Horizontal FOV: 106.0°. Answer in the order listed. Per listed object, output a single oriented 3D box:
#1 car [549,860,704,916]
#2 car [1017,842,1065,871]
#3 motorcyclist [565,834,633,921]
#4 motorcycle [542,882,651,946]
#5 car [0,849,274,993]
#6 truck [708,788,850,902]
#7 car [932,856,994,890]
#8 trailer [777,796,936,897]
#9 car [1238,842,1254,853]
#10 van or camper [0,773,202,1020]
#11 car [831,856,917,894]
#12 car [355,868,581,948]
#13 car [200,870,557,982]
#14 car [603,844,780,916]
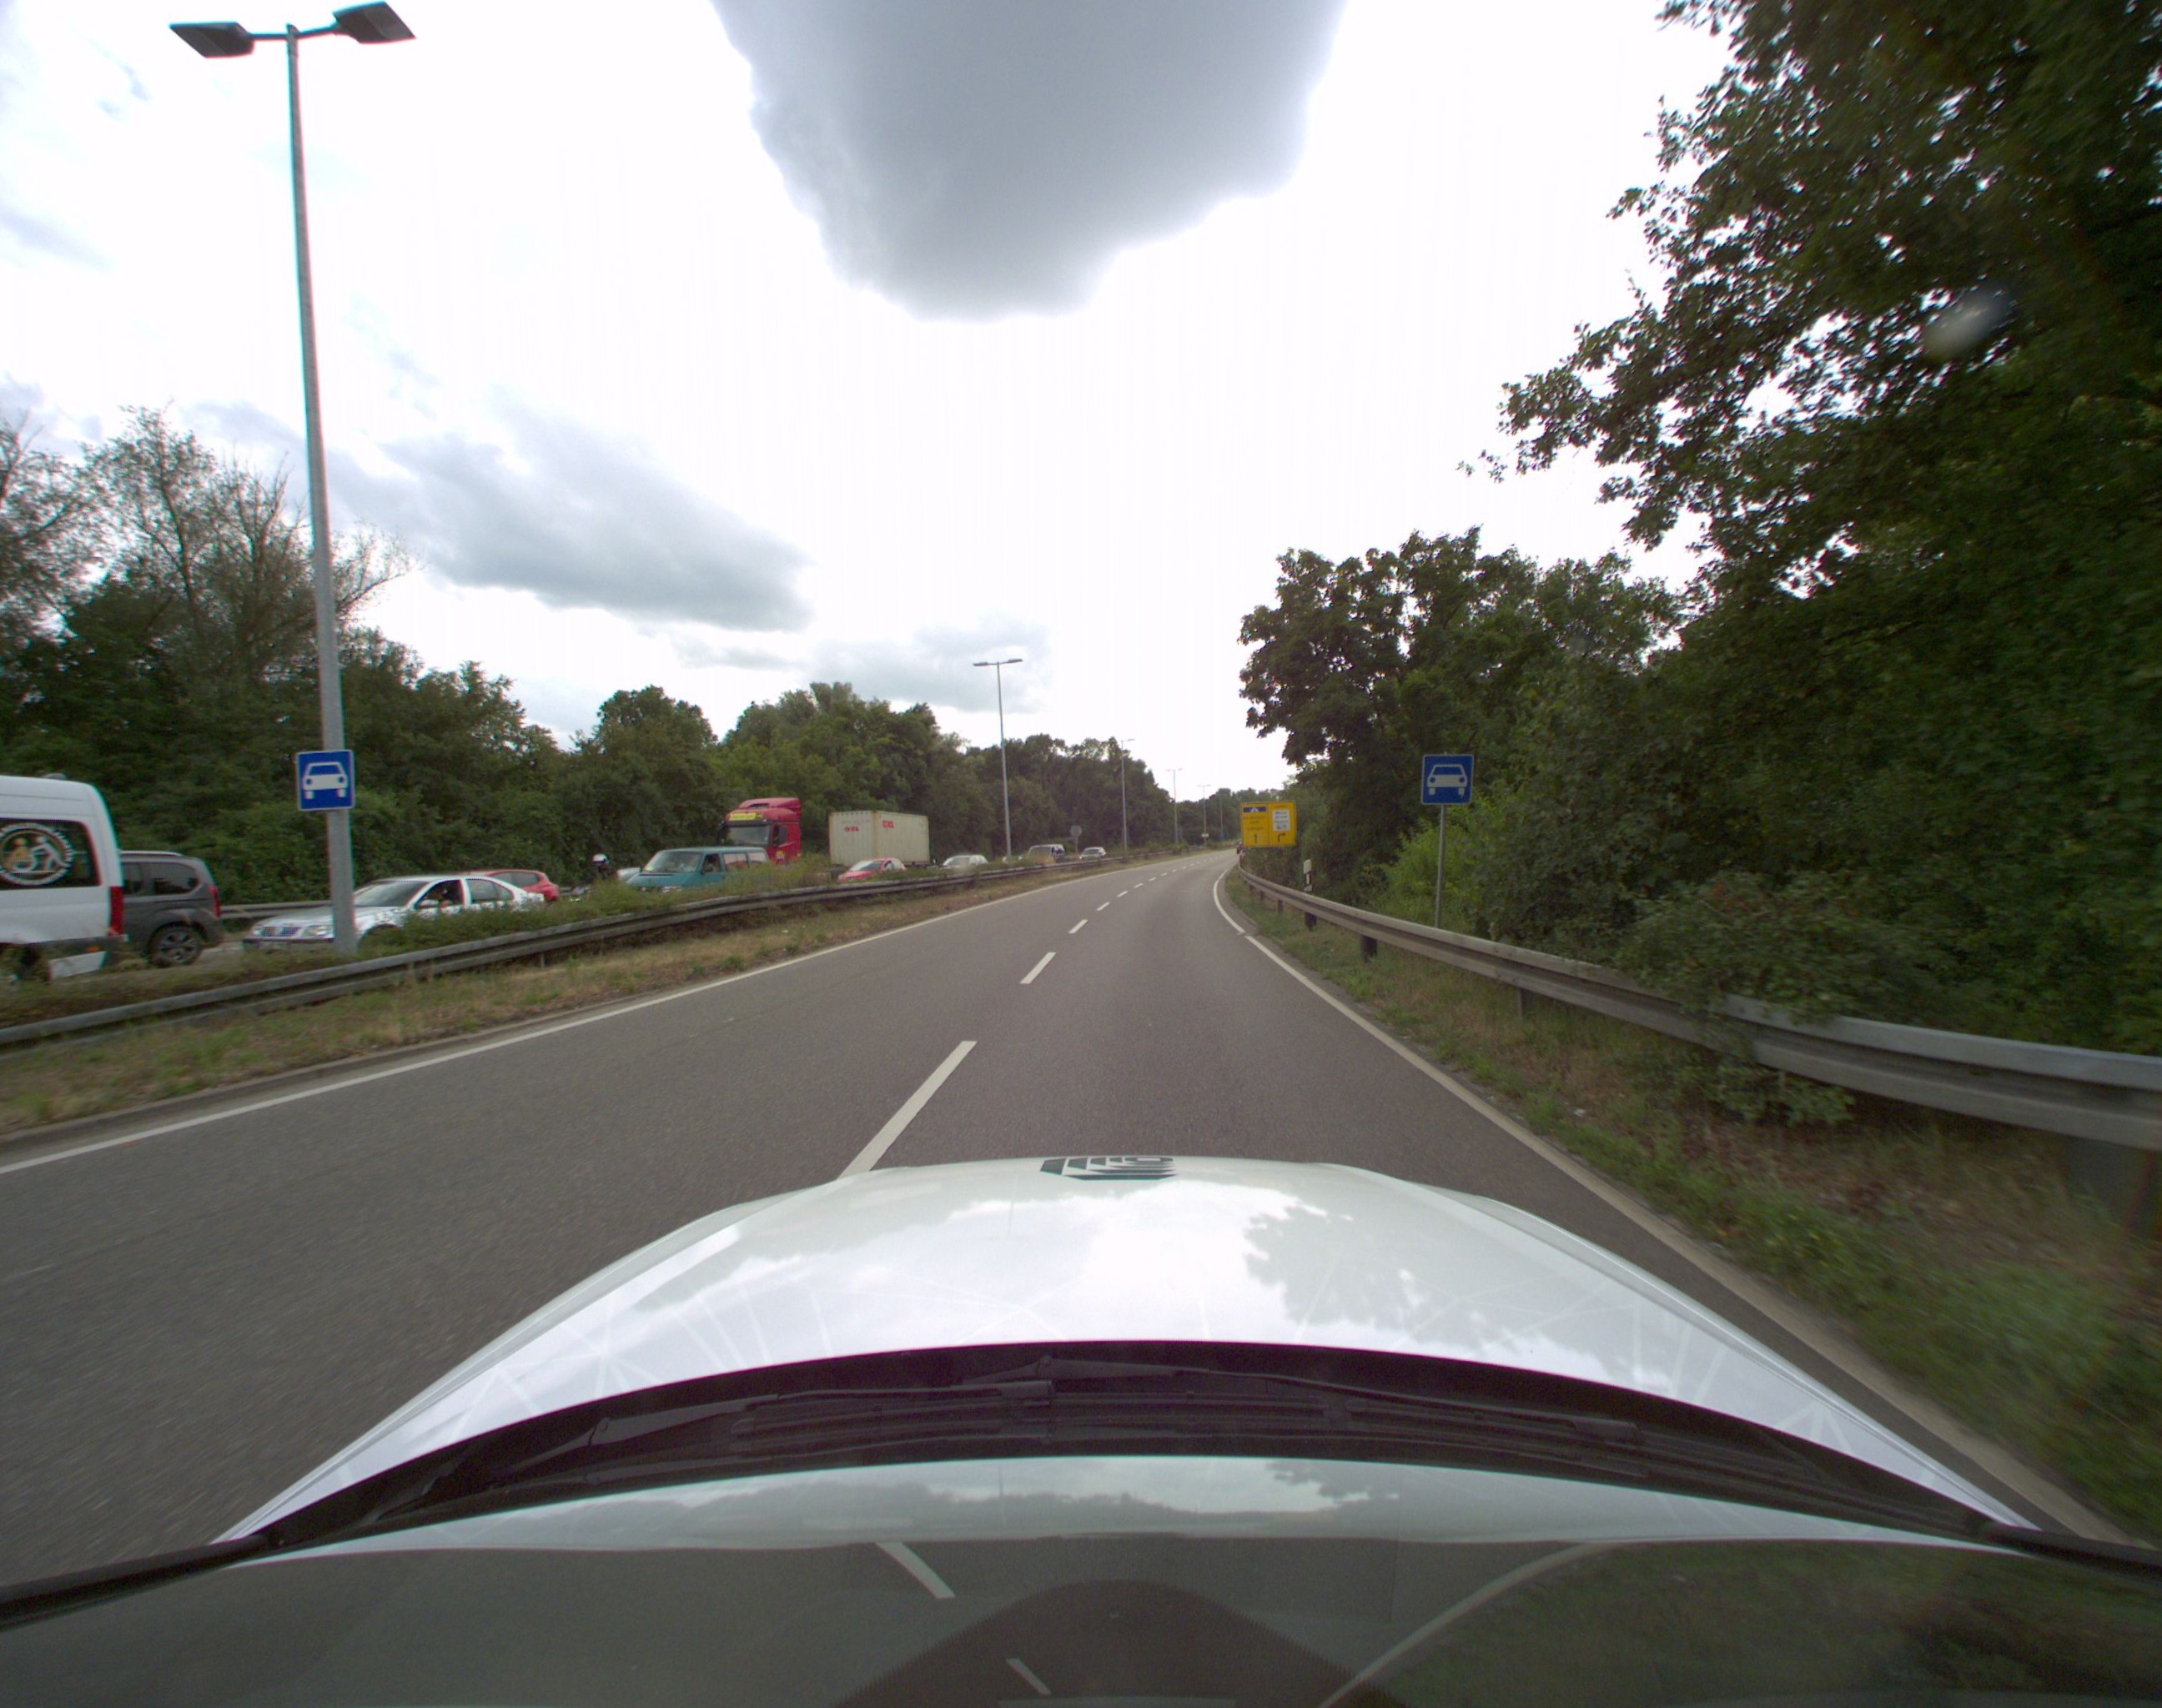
[{"bbox_3d":[-13.385,0.952,24.323,1.794,1.466,4.288,-2,0,8],"label":"car"},{"bbox_3d":[-2.708,0.148,56.625,1.996,1.863,5.296,-2,-1,12],"label":"car"},{"bbox_3d":[-10.496,0.498,17.755,0.861,1.823,0.927,-2,-1,6],"label":"motorcyclist"},{"bbox_3d":[-10.491,1.255,17.749,0.795,1.225,2.330,-2,-1,5],"label":"motorcycle"},{"bbox_3d":[-15.190,0.923,12.083,1.982,1.902,4.176,-2,-1,8],"label":"car"},{"bbox_3d":[-11.811,-0.294,32.445,2.551,4.083,5.642,-2,-1,12],"label":"truck"},{"bbox_3d":[-6.241,0.974,43.466,1.828,1.667,4.349,-2,-1,12],"label":"car"},{"bbox_3d":[-10.324,-0.287,39.182,2.518,4.147,10.808,-2,-1,12],"label":"trailer"},{"bbox_3d":[21.225,-0.866,104.955,1.613,1.377,4.018,-2,-1,17],"label":"car"},{"bbox_3d":[-12.536,0.468,7.163,2.150,2.589,6.505,-2,-1,5],"label":"van or camper"},{"bbox_3d":[-8.448,0.821,33.622,1.792,1.432,4.138,-2,-1,11],"label":"car"},{"bbox_3d":[-14.253,1.188,19.284,1.982,1.614,4.009,-2,-1,8],"label":"car"},{"bbox_3d":[-11.557,1.090,13.925,1.983,1.498,4.408,-2,0,6],"label":"car"},{"bbox_3d":[-10.462,0.654,22.382,1.793,1.729,4.974,-2,-1,10],"label":"car"}]
